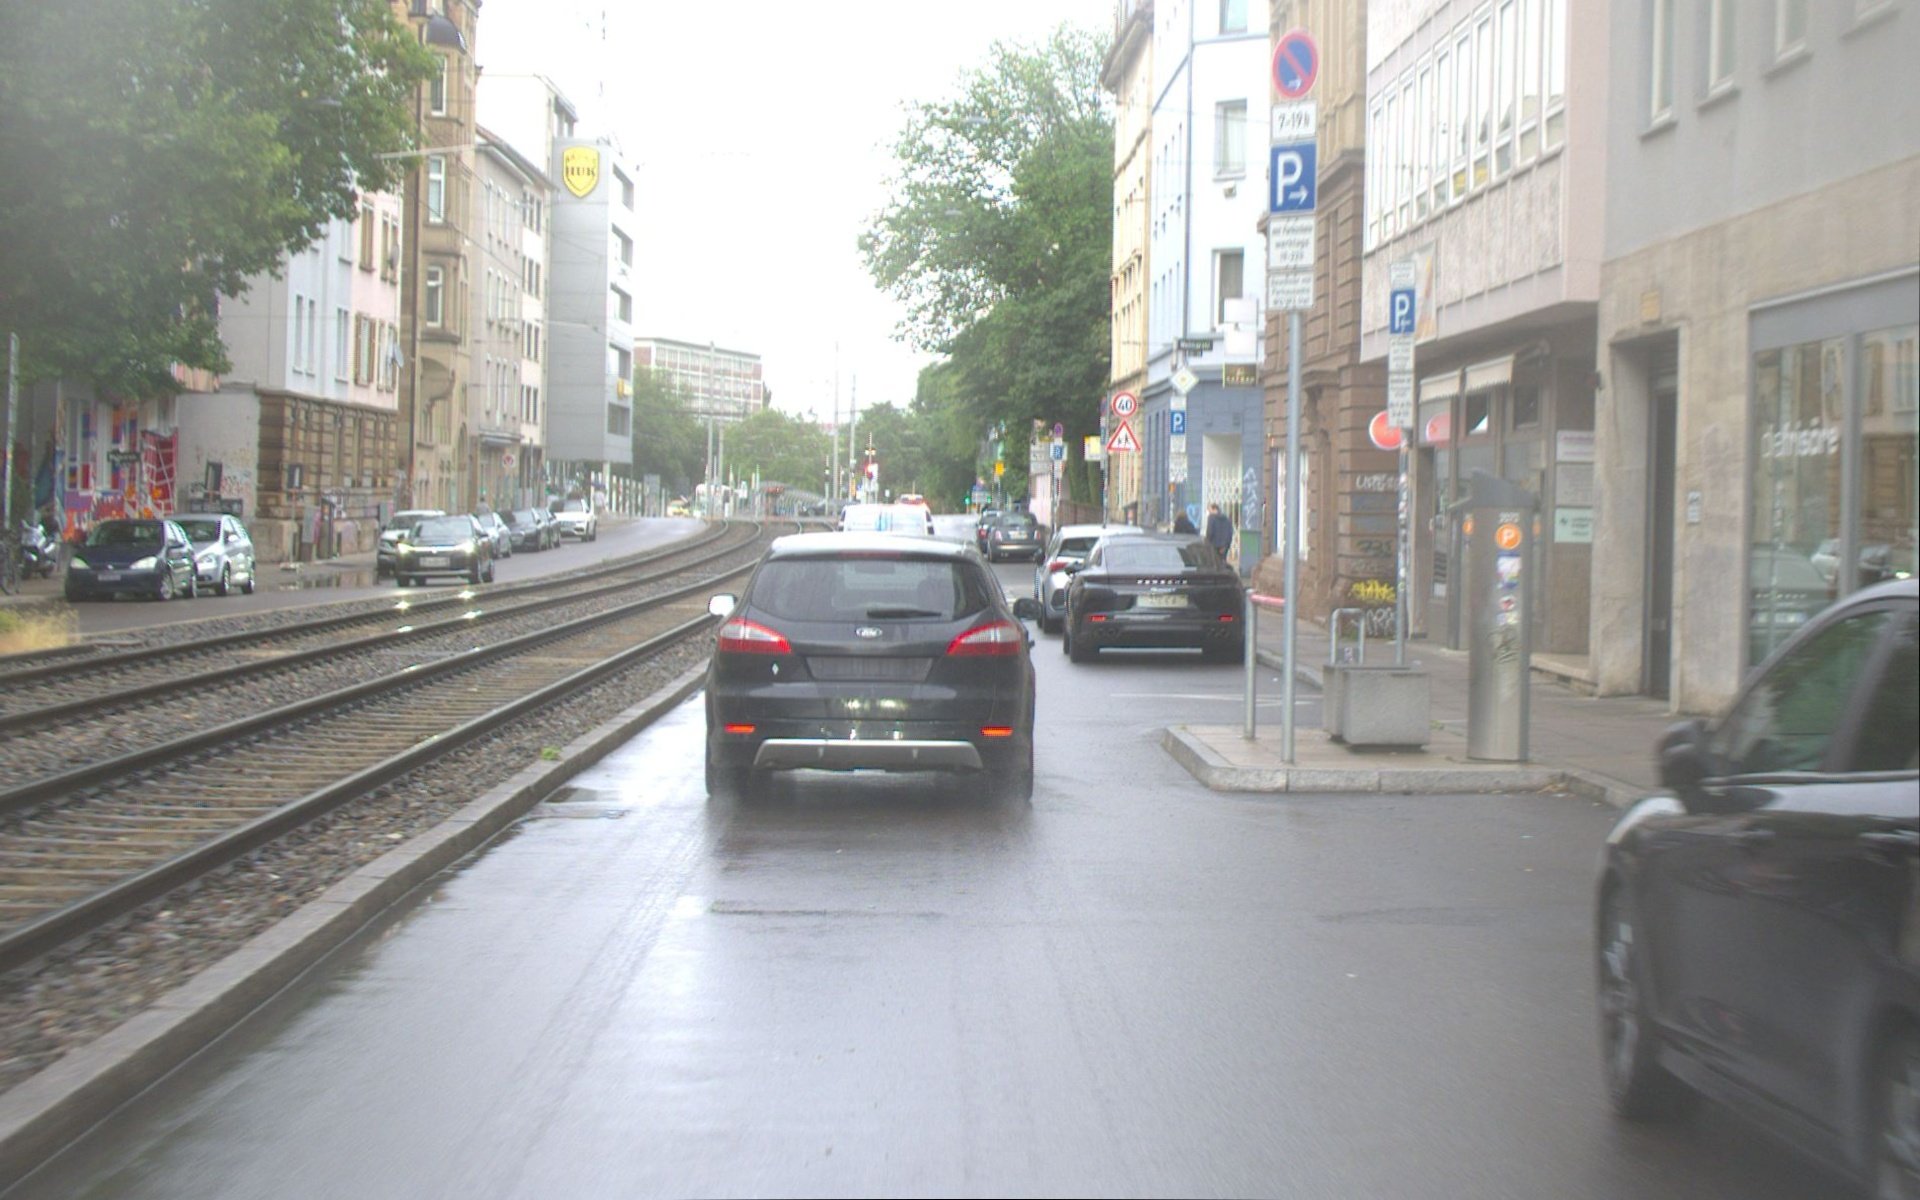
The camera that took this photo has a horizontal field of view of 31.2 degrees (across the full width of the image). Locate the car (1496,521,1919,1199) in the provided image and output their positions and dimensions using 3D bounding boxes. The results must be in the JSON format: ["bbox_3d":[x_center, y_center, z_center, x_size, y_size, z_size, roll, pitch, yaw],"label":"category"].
[{"bbox_3d":[2.552,0.644,7.750,1.993,1.588,4.271,1,1,0],"label":"car"}]

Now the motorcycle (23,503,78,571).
[{"bbox_3d":[-19.059,-1.331,72.082,0.639,1.374,2.120,2,2,-2],"label":"motorcycle"}]

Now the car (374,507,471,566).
[{"bbox_3d":[-14.766,-1.765,94.649,1.993,1.514,4.436,2,2,-1],"label":"car"}]

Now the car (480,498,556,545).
[{"bbox_3d":[-14.936,-2.673,116.296,1.993,1.514,4.676,2,2,-1],"label":"car"}]

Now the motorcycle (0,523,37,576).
[{"bbox_3d":[-19.223,-1.027,69.415,0.639,1.029,2.120,2,2,-2],"label":"motorcycle"}]

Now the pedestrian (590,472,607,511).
[{"bbox_3d":[-17.173,-5.144,163.449,0.744,1.847,0.839,0,0,-1],"label":"pedestrian"}]

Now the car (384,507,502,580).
[{"bbox_3d":[-11.516,-1.281,76.832,1.993,1.514,4.444,2,2,-1],"label":"car"}]

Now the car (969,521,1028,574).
[{"bbox_3d":[1.174,-1.642,106.703,1.642,1.510,4.039,1,2,-1],"label":"car"}]

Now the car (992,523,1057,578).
[{"bbox_3d":[1.893,-1.491,102.230,1.738,1.484,4.001,1,2,-1],"label":"car"}]

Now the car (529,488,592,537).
[{"bbox_3d":[-15.514,-3.419,133.709,1.993,1.833,5.072,2,2,-2],"label":"car"}]

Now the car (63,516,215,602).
[{"bbox_3d":[-14.610,-0.752,61.391,1.744,1.463,4.220,0,2,-1],"label":"car"}]

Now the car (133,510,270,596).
[{"bbox_3d":[-14.596,-0.932,66.334,1.721,1.565,4.220,2,2,-1],"label":"car"}]

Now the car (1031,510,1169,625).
[{"bbox_3d":[2.015,-0.512,50.521,1.746,1.518,4.356,1,2,-1],"label":"car"}]

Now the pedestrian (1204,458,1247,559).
[{"bbox_3d":[5.355,-1.855,69.455,0.736,2.006,0.821,1,2,-1],"label":"pedestrian"}]

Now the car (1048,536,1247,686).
[{"bbox_3d":[2.070,0.088,39.146,1.993,1.588,4.572,1,1,0],"label":"car"}]

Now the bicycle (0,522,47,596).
[{"bbox_3d":[-16.019,-0.707,58.548,0.590,1.222,2.404,2,1,-8],"label":"bicycle"}]

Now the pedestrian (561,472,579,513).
[{"bbox_3d":[-17.845,-4.921,157.473,0.744,1.847,0.839,0,0,-1],"label":"pedestrian"}]

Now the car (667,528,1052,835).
[{"bbox_3d":[-0.530,0.395,20.097,1.993,1.588,4.271,1,1,0],"label":"car"}]

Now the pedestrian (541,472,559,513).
[{"bbox_3d":[-18.765,-4.908,157.413,0.744,1.847,0.839,0,0,-1],"label":"pedestrian"}]

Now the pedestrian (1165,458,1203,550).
[{"bbox_3d":[4.515,-1.940,69.306,0.661,1.845,0.821,1,2,-1],"label":"pedestrian"}]

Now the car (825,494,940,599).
[{"bbox_3d":[-1.365,-0.961,62.144,1.993,1.810,4.271,1,1,0],"label":"car"}]
